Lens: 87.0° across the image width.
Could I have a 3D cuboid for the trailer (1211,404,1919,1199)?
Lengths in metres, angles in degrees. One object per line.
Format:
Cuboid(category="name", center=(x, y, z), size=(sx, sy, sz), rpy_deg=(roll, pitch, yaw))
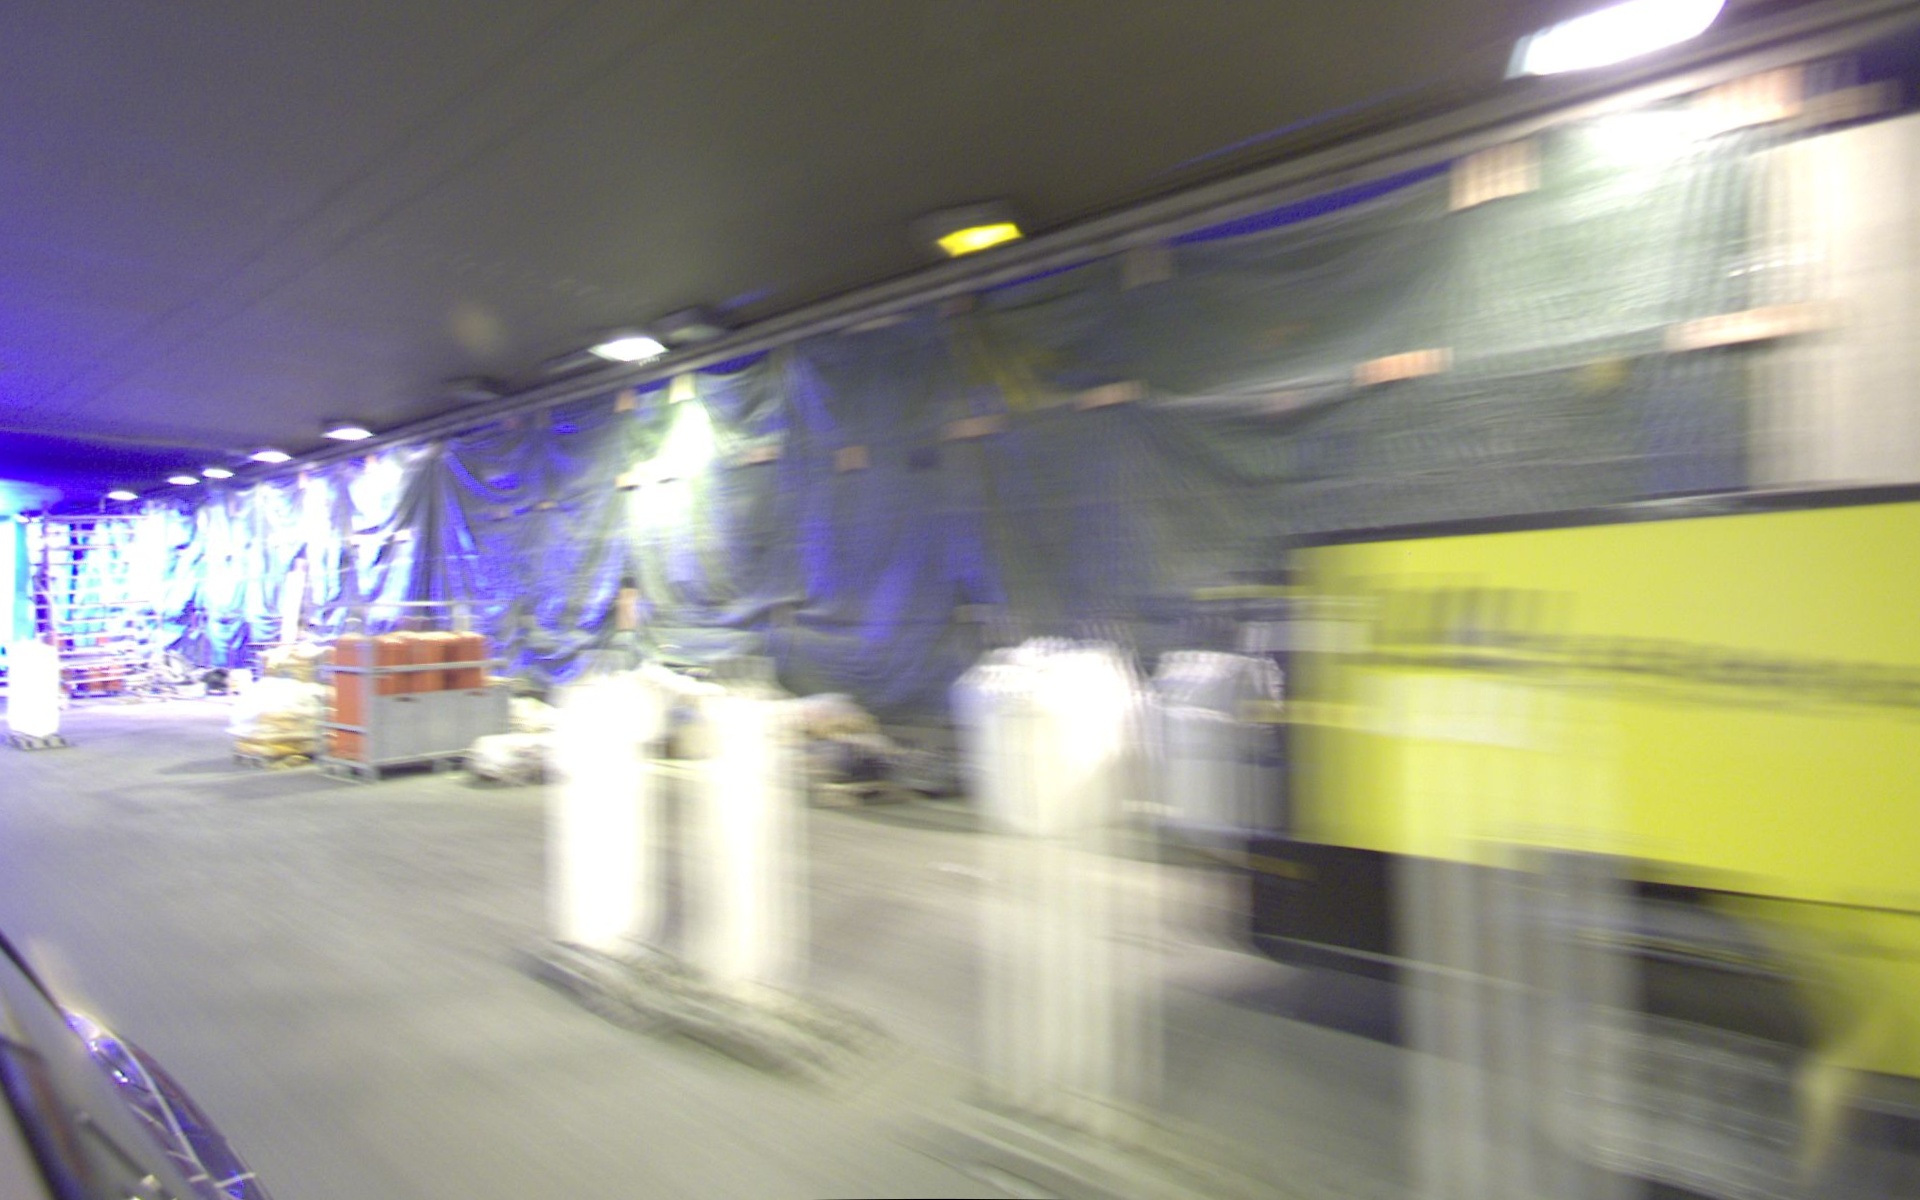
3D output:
Cuboid(category="trailer", center=(2.491, 0.491, 2.755), size=(3.119, 1.804, 1.623), rpy_deg=(-1, 0, 39))
